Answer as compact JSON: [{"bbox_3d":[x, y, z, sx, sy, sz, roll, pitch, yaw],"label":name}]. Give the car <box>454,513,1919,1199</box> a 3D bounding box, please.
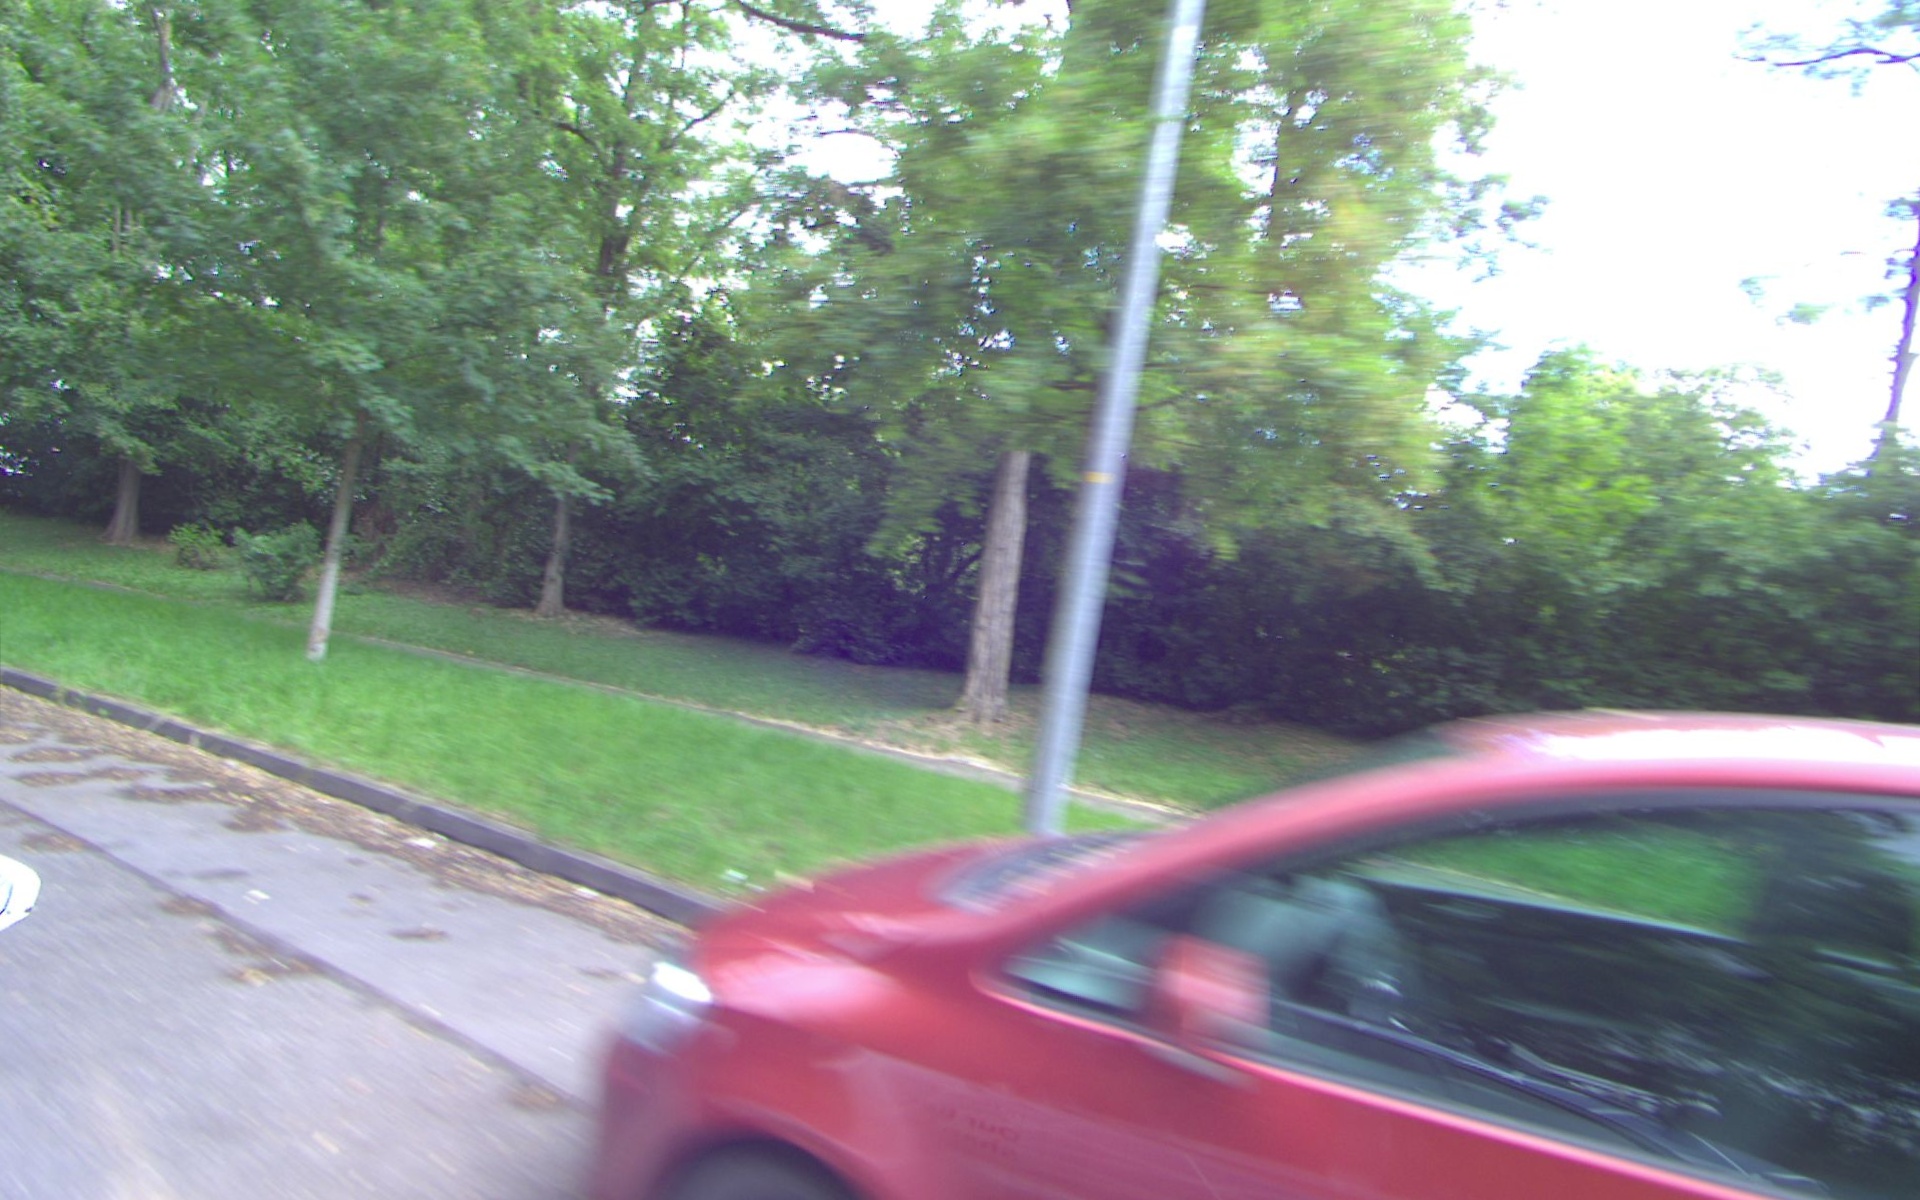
[{"bbox_3d":[1.164,0.894,1.815,3.931,1.582,1.741,8,0,29],"label":"car"}]
